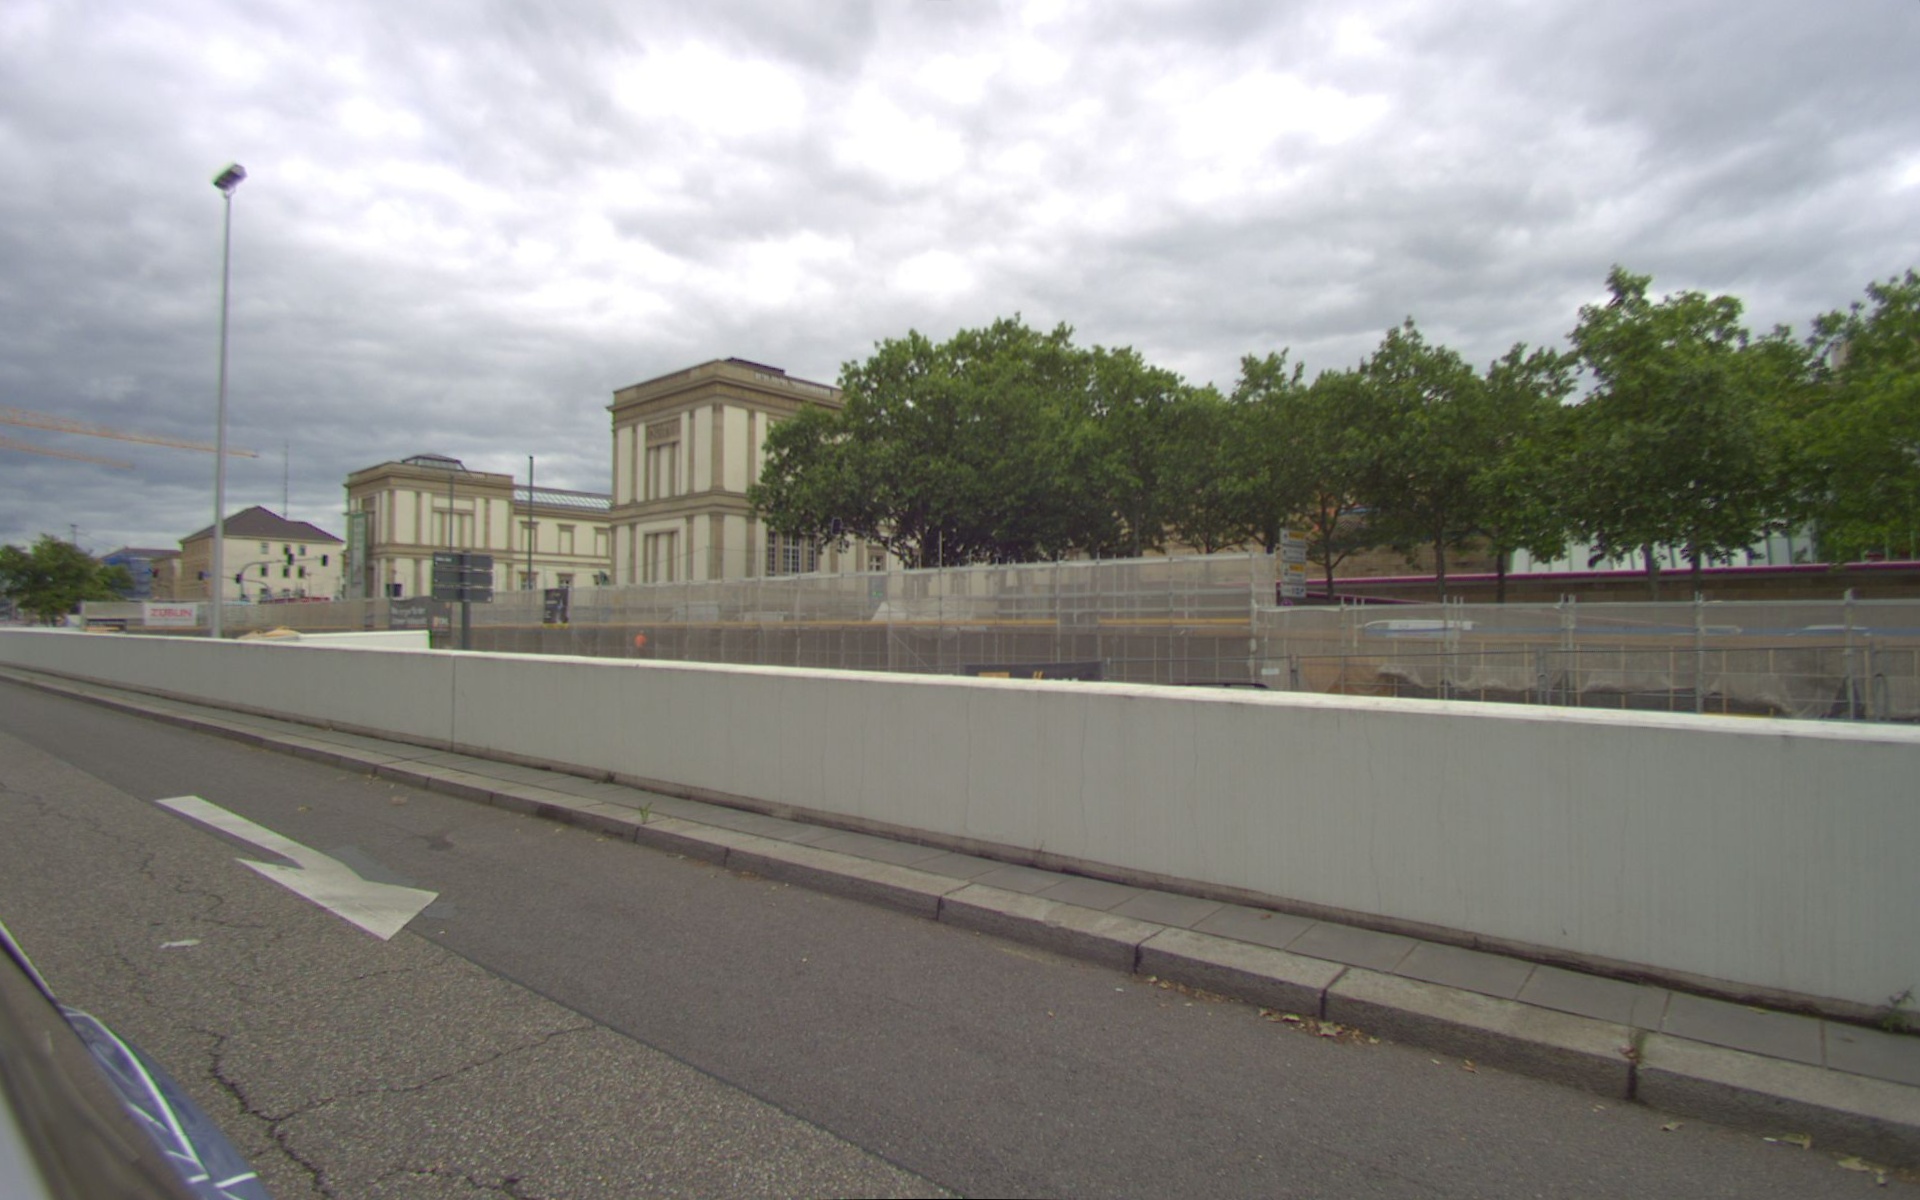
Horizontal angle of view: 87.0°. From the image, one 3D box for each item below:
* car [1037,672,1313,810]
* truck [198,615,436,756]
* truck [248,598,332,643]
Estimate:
[{"bbox_3d":[2.965,1.877,14.237,3.375,1.580,1.732,-1,-5,41],"label":"car"},{"bbox_3d":[-14.610,1.848,22.809,6.667,2.733,2.576,-3,-4,40],"label":"truck"},{"bbox_3d":[-67.216,2.224,101.301,16.609,4.114,2.886,-3,-4,42],"label":"truck"}]
